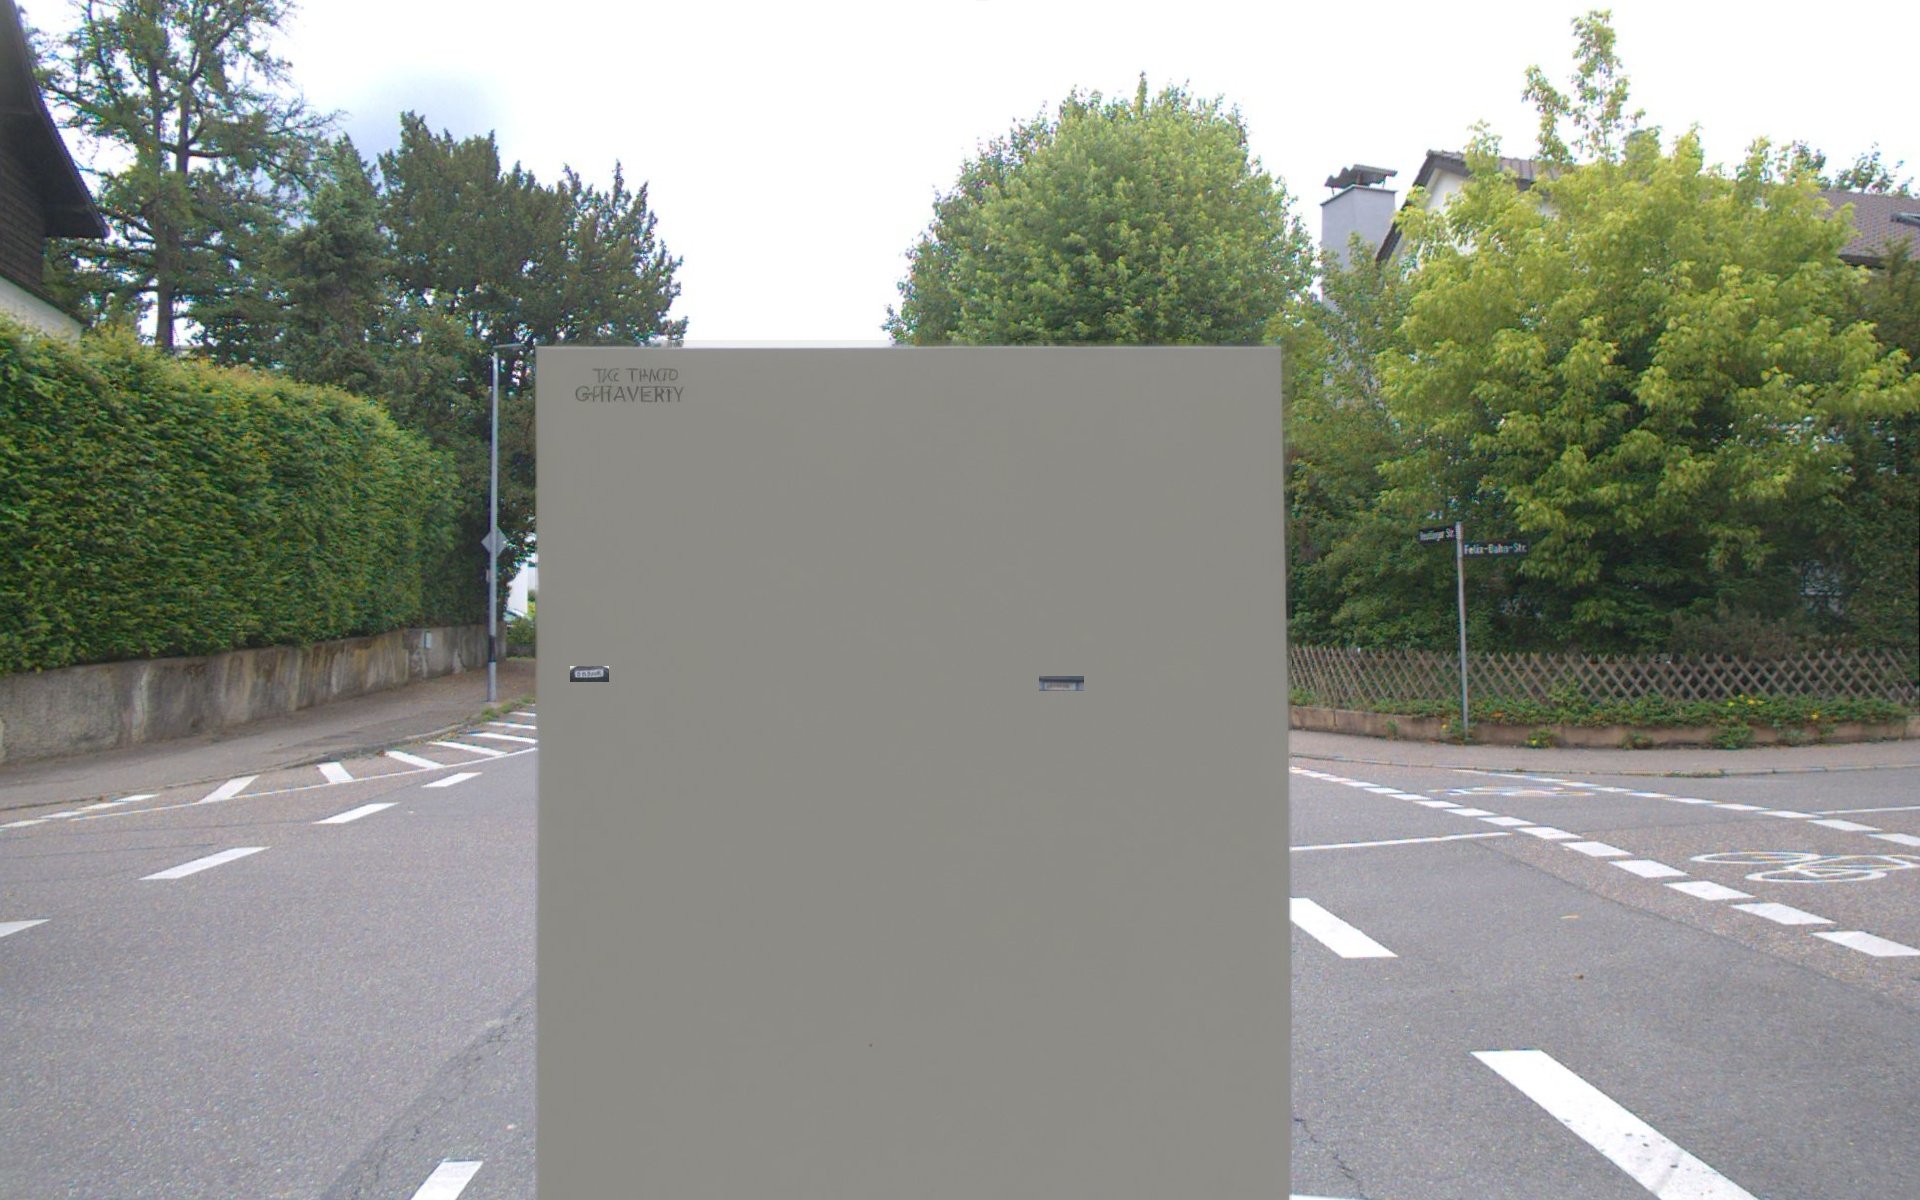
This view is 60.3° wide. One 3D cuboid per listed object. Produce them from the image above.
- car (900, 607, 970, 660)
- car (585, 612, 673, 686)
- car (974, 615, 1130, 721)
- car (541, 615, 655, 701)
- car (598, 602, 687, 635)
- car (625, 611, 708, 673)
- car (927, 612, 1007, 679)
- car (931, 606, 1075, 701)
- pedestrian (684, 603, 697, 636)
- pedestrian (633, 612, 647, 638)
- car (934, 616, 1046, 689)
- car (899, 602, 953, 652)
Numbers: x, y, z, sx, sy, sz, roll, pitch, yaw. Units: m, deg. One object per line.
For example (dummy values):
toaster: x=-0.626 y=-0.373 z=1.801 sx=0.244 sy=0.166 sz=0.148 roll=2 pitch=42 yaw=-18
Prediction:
car: x=-0.844 y=1.031 z=52.555 sx=1.954 sy=1.517 sz=5.001 roll=-1 pitch=0 yaw=-4
car: x=-7.281 y=1.060 z=36.563 sx=1.592 sy=1.545 sz=2.972 roll=-1 pitch=-1 yaw=-5
car: x=1.418 y=1.046 z=27.309 sx=1.900 sy=1.517 sz=4.451 roll=-1 pitch=0 yaw=-6
car: x=-7.023 y=1.086 z=32.355 sx=1.711 sy=1.473 sz=3.509 roll=-2 pitch=1 yaw=-5
car: x=-16.308 y=0.921 z=85.241 sx=4.302 sy=1.594 sz=2.064 roll=-1 pitch=0 yaw=-6
car: x=-7.808 y=1.079 z=44.375 sx=1.815 sy=1.495 sz=4.677 roll=-1 pitch=0 yaw=-6
car: x=0.133 y=1.108 z=41.829 sx=1.664 sy=1.534 sz=4.156 roll=2 pitch=0 yaw=-4
car: x=0.735 y=0.975 z=32.209 sx=1.964 sy=1.637 sz=4.748 roll=-1 pitch=0 yaw=-9
pedestrian: x=-13.747 y=1.007 z=84.459 sx=0.581 sy=1.669 sz=0.565 roll=-1 pitch=0 yaw=-4
pedestrian: x=-16.096 y=1.259 z=83.144 sx=0.595 sy=1.305 sz=0.899 roll=1 pitch=-1 yaw=-5
car: x=0.598 y=1.117 z=36.880 sx=1.776 sy=1.478 sz=4.369 roll=-1 pitch=0 yaw=-9
car: x=-1.246 y=0.938 z=58.508 sx=1.683 sy=1.661 sz=3.925 roll=1 pitch=0 yaw=-4
